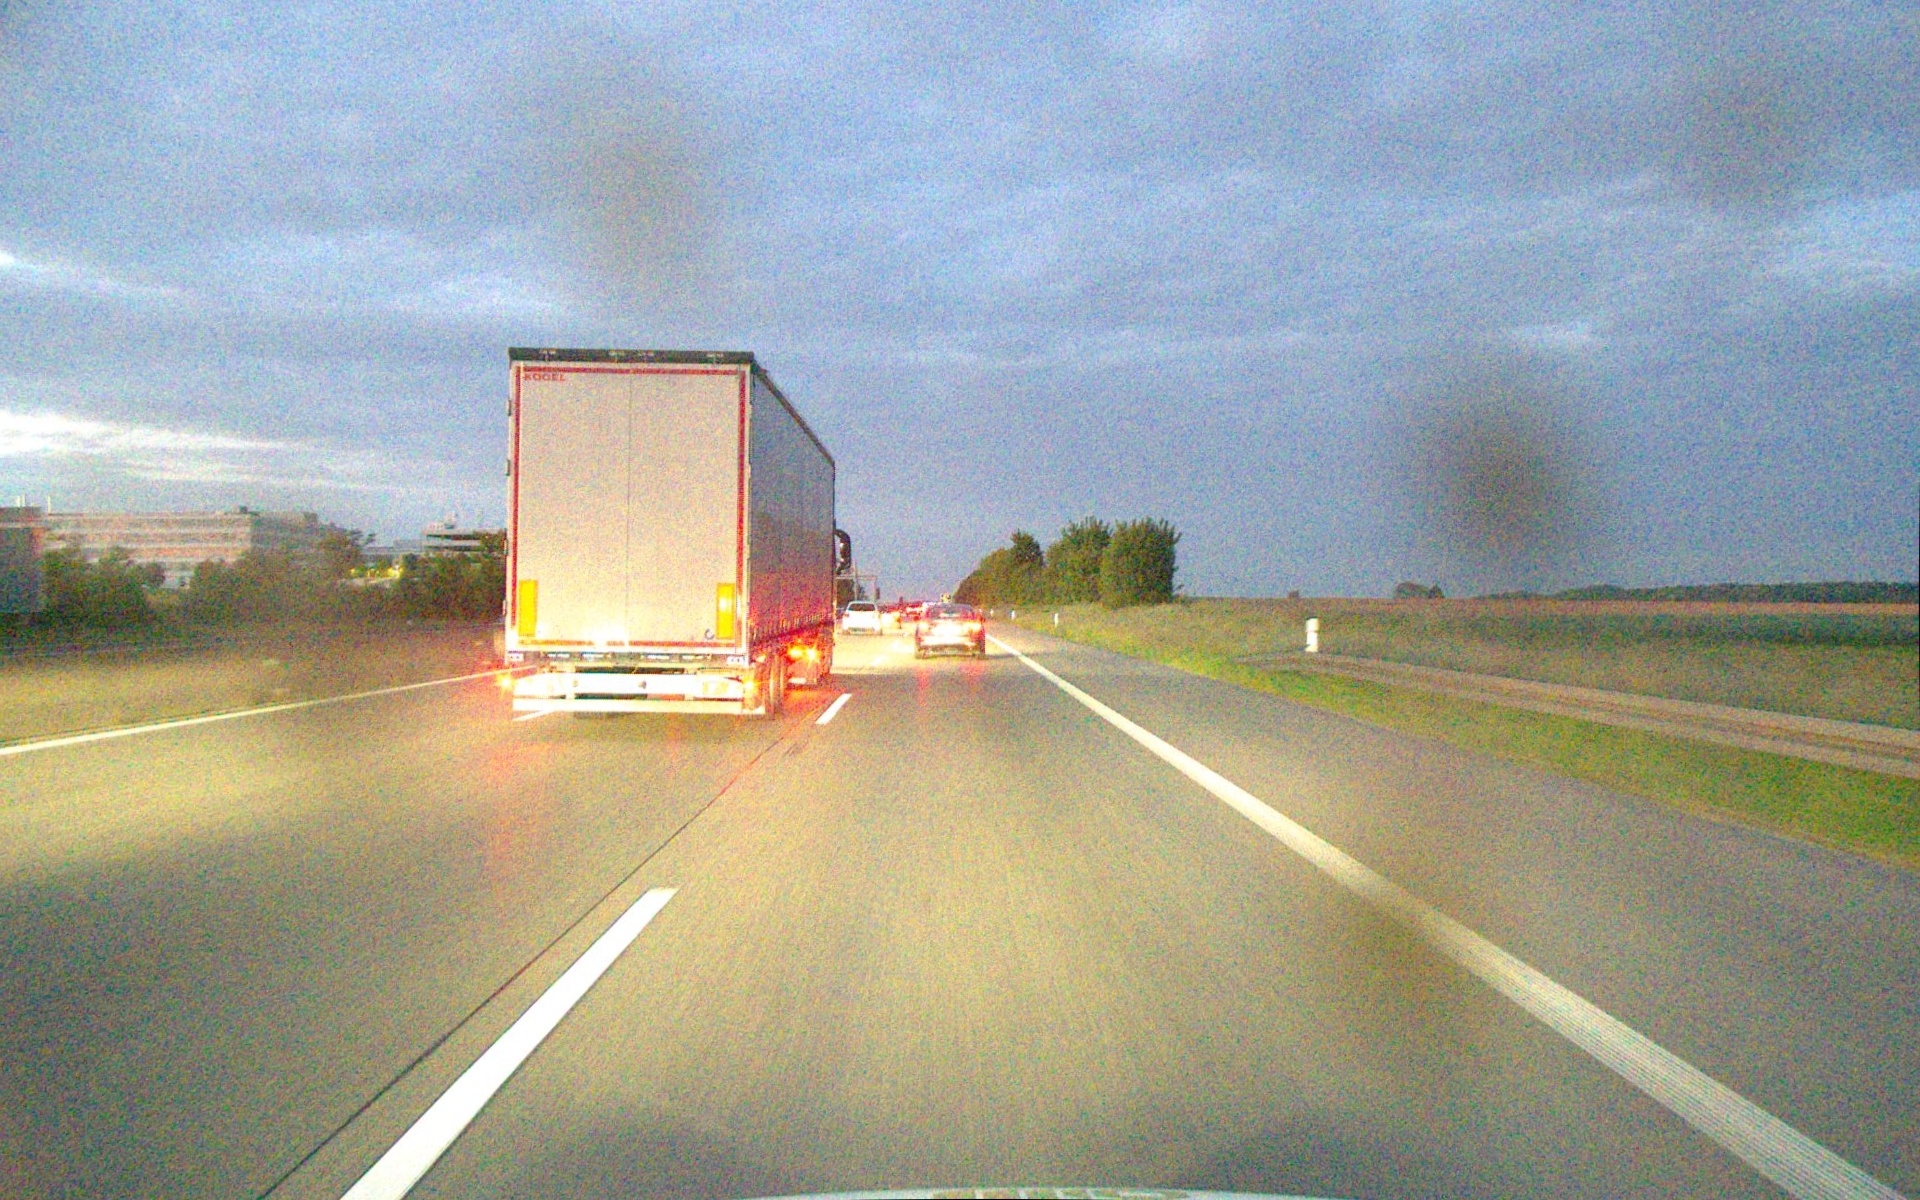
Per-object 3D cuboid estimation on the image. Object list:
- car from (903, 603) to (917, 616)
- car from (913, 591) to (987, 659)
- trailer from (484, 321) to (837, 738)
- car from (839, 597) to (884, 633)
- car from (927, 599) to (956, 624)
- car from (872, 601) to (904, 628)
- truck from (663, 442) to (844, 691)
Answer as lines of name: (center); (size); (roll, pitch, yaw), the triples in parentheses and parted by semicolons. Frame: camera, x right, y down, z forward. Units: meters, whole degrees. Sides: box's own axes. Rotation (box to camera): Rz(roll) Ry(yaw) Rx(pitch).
car: (-6.525, 1.272, 216.025); (1.842, 1.579, 3.999); (1, -1, -1)
car: (-0.276, 0.661, 43.931); (1.842, 1.672, 3.999); (1, -1, -1)
trailer: (-3.521, -0.612, 23.794); (2.737, 4.157, 14.520); (0, -1, -1)
car: (-4.397, 0.692, 74.402); (1.708, 1.551, 4.413); (1, -1, 0)
car: (-1.218, 0.758, 107.185); (1.842, 1.579, 3.999); (1, -1, -1)
car: (-4.139, 0.848, 95.722); (1.688, 1.497, 4.725); (1, -1, -1)
truck: (-3.673, -0.517, 30.766); (2.721, 4.164, 6.101); (0, -1, -1)
